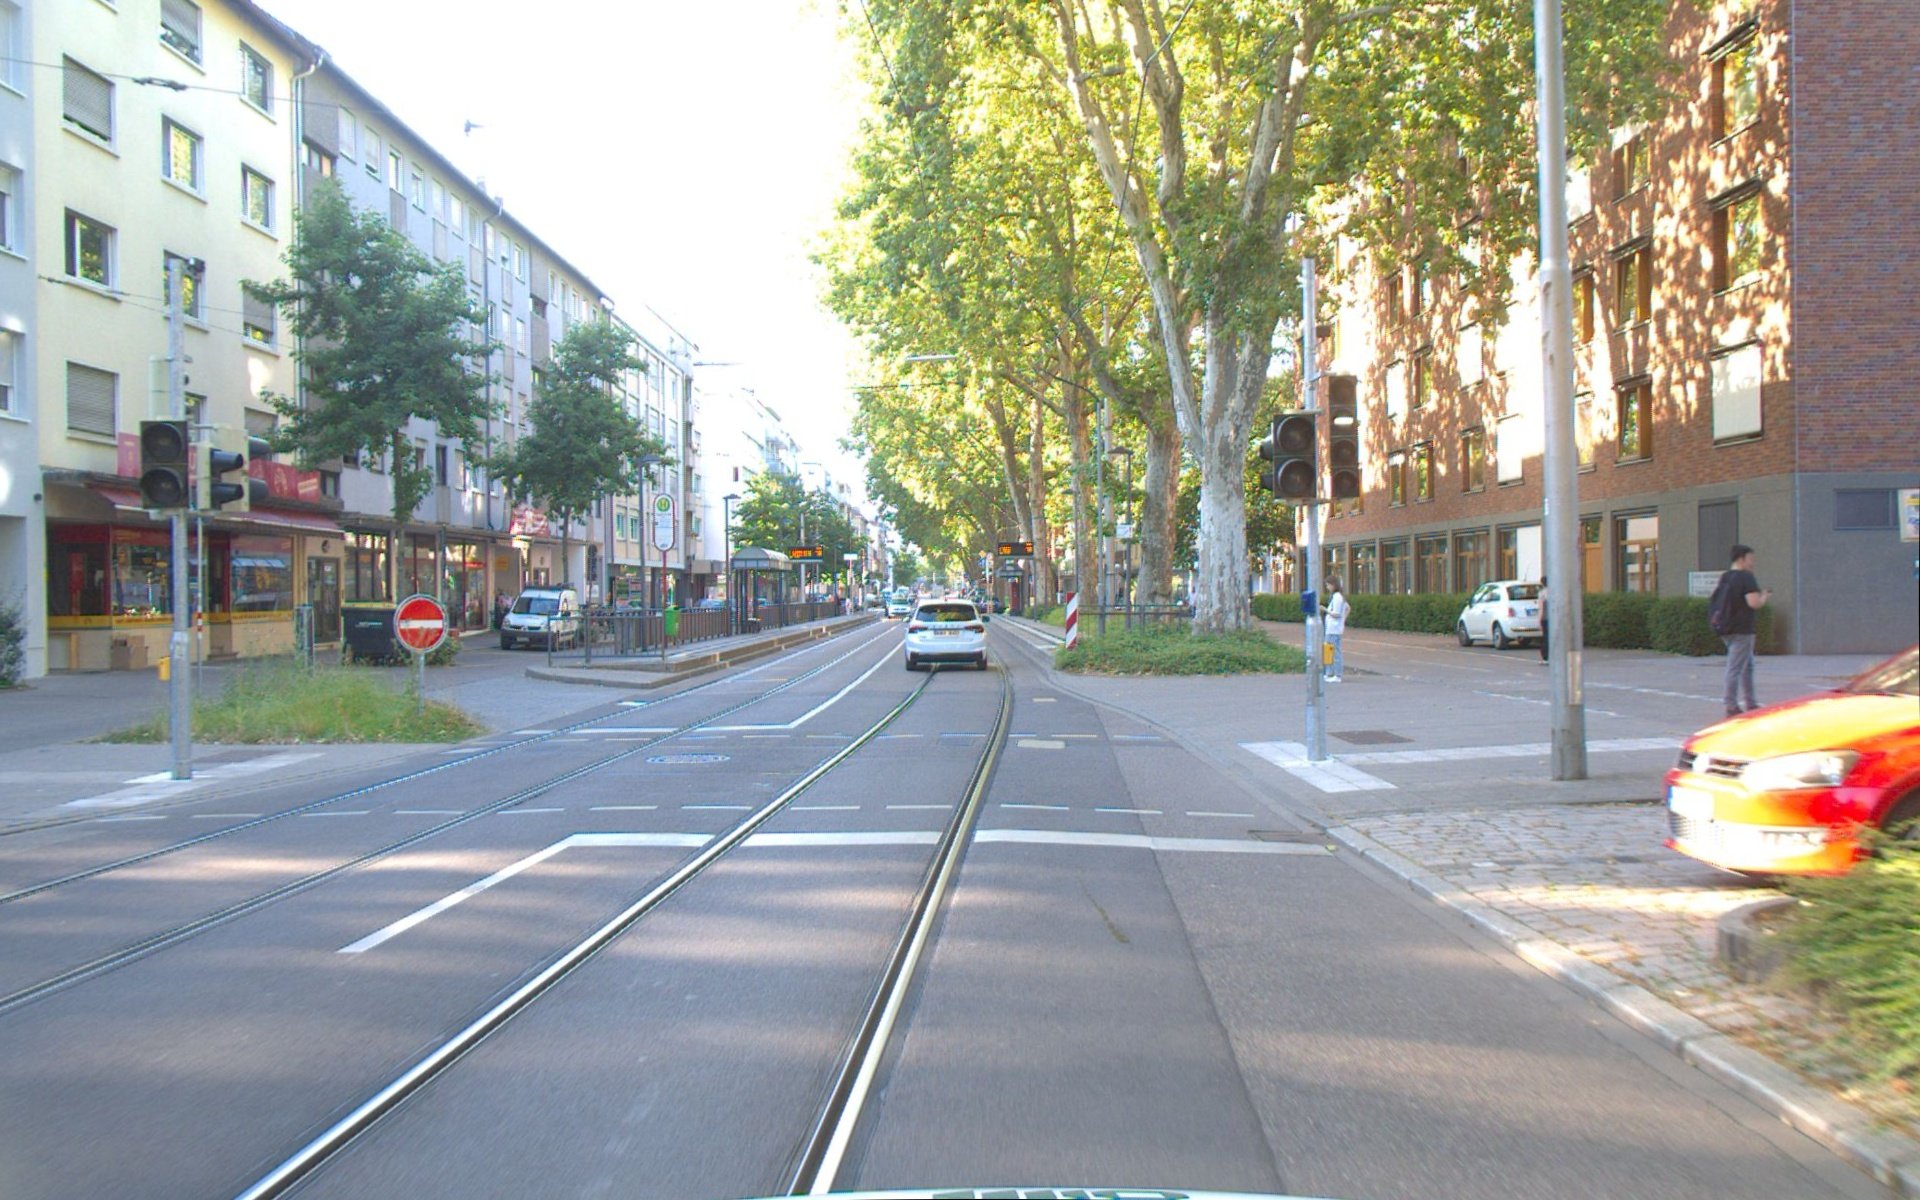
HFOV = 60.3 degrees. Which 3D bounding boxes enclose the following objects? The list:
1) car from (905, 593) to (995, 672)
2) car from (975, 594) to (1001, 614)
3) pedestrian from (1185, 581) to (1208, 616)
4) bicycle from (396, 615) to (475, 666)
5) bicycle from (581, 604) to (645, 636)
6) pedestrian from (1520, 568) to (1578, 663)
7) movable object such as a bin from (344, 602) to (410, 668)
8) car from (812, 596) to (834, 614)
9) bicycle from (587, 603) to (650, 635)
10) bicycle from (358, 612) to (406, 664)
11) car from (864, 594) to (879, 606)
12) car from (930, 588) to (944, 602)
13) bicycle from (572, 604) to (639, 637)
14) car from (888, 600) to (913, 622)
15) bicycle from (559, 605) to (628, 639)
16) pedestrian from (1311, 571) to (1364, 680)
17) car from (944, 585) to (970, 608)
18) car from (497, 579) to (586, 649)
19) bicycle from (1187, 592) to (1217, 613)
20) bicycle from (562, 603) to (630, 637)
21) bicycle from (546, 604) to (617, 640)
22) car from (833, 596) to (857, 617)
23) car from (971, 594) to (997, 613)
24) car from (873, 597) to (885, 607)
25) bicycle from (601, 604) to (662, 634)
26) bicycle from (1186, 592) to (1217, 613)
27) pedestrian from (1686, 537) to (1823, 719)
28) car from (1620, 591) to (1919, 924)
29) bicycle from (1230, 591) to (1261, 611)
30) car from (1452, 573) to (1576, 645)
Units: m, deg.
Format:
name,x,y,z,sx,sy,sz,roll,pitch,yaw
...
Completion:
name,x,y,z,sx,sy,sz,roll,pitch,yaw
car,-0.219,0.633,34.910,1.752,1.540,4.000,-1,0,-1
car,2.178,0.282,130.772,1.953,1.478,4.000,-1,0,-1
pedestrian,11.373,-0.070,79.542,0.952,1.652,0.887,-1,0,-1
bicycle,-12.127,0.927,38.272,1.502,1.094,0.885,2,0,-1
bicycle,-12.740,0.724,60.756,2.206,1.093,0.636,2,0,1
pedestrian,10.763,0.282,30.239,0.720,1.698,0.834,-1,0,-1
movable object such as a bin,-12.750,0.767,36.193,1.147,1.372,0.782,3,0,-5
car,-12.284,0.443,148.231,1.643,1.575,3.999,1,0,-1
bicycle,-12.903,0.722,62.501,2.206,1.093,0.636,2,0,1
bicycle,-13.122,0.846,37.589,0.488,1.127,1.799,3,0,-3
car,-12.052,-0.058,224.929,1.752,1.540,4.000,-1,0,-1
car,-3.240,-0.649,234.146,1.828,1.925,4.000,-1,0,-1
bicycle,-12.739,0.727,59.492,2.206,1.093,0.636,2,0,1
car,-4.289,0.774,119.223,1.659,1.444,4.000,-1,0,-1
bicycle,-12.647,0.752,57.060,2.206,1.093,0.636,2,0,1
pedestrian,5.974,0.398,26.215,0.639,1.698,0.738,-1,0,-1
car,-0.205,-0.271,114.495,1.752,1.540,4.000,-1,0,-1
car,-12.467,0.396,49.488,1.653,1.974,3.999,-1,0,-1
bicycle,12.986,0.140,88.828,1.533,1.055,0.504,-1,0,21
bicycle,-12.917,0.713,58.746,2.206,1.093,0.636,2,0,1
bicycle,-12.679,0.743,55.412,2.206,1.093,0.636,2,0,1
car,-8.929,0.491,128.688,1.643,1.575,3.999,1,0,-1
car,1.957,0.274,135.856,1.953,1.478,4.000,-1,0,-1
car,-12.719,0.276,259.900,1.752,1.540,4.000,-1,0,-1
bicycle,-12.774,0.731,64.333,2.206,1.093,0.636,2,0,1
bicycle,12.830,0.144,87.911,1.533,1.055,0.479,-1,0,21
pedestrian,8.377,0.284,17.471,0.975,1.842,0.863,-1,0,-6
car,5.475,0.674,8.118,3.804,1.448,1.649,-1,0,2
bicycle,15.190,0.064,88.018,1.533,1.055,0.479,-1,0,21
car,12.568,0.190,37.694,1.568,1.521,3.416,-1,0,-2
